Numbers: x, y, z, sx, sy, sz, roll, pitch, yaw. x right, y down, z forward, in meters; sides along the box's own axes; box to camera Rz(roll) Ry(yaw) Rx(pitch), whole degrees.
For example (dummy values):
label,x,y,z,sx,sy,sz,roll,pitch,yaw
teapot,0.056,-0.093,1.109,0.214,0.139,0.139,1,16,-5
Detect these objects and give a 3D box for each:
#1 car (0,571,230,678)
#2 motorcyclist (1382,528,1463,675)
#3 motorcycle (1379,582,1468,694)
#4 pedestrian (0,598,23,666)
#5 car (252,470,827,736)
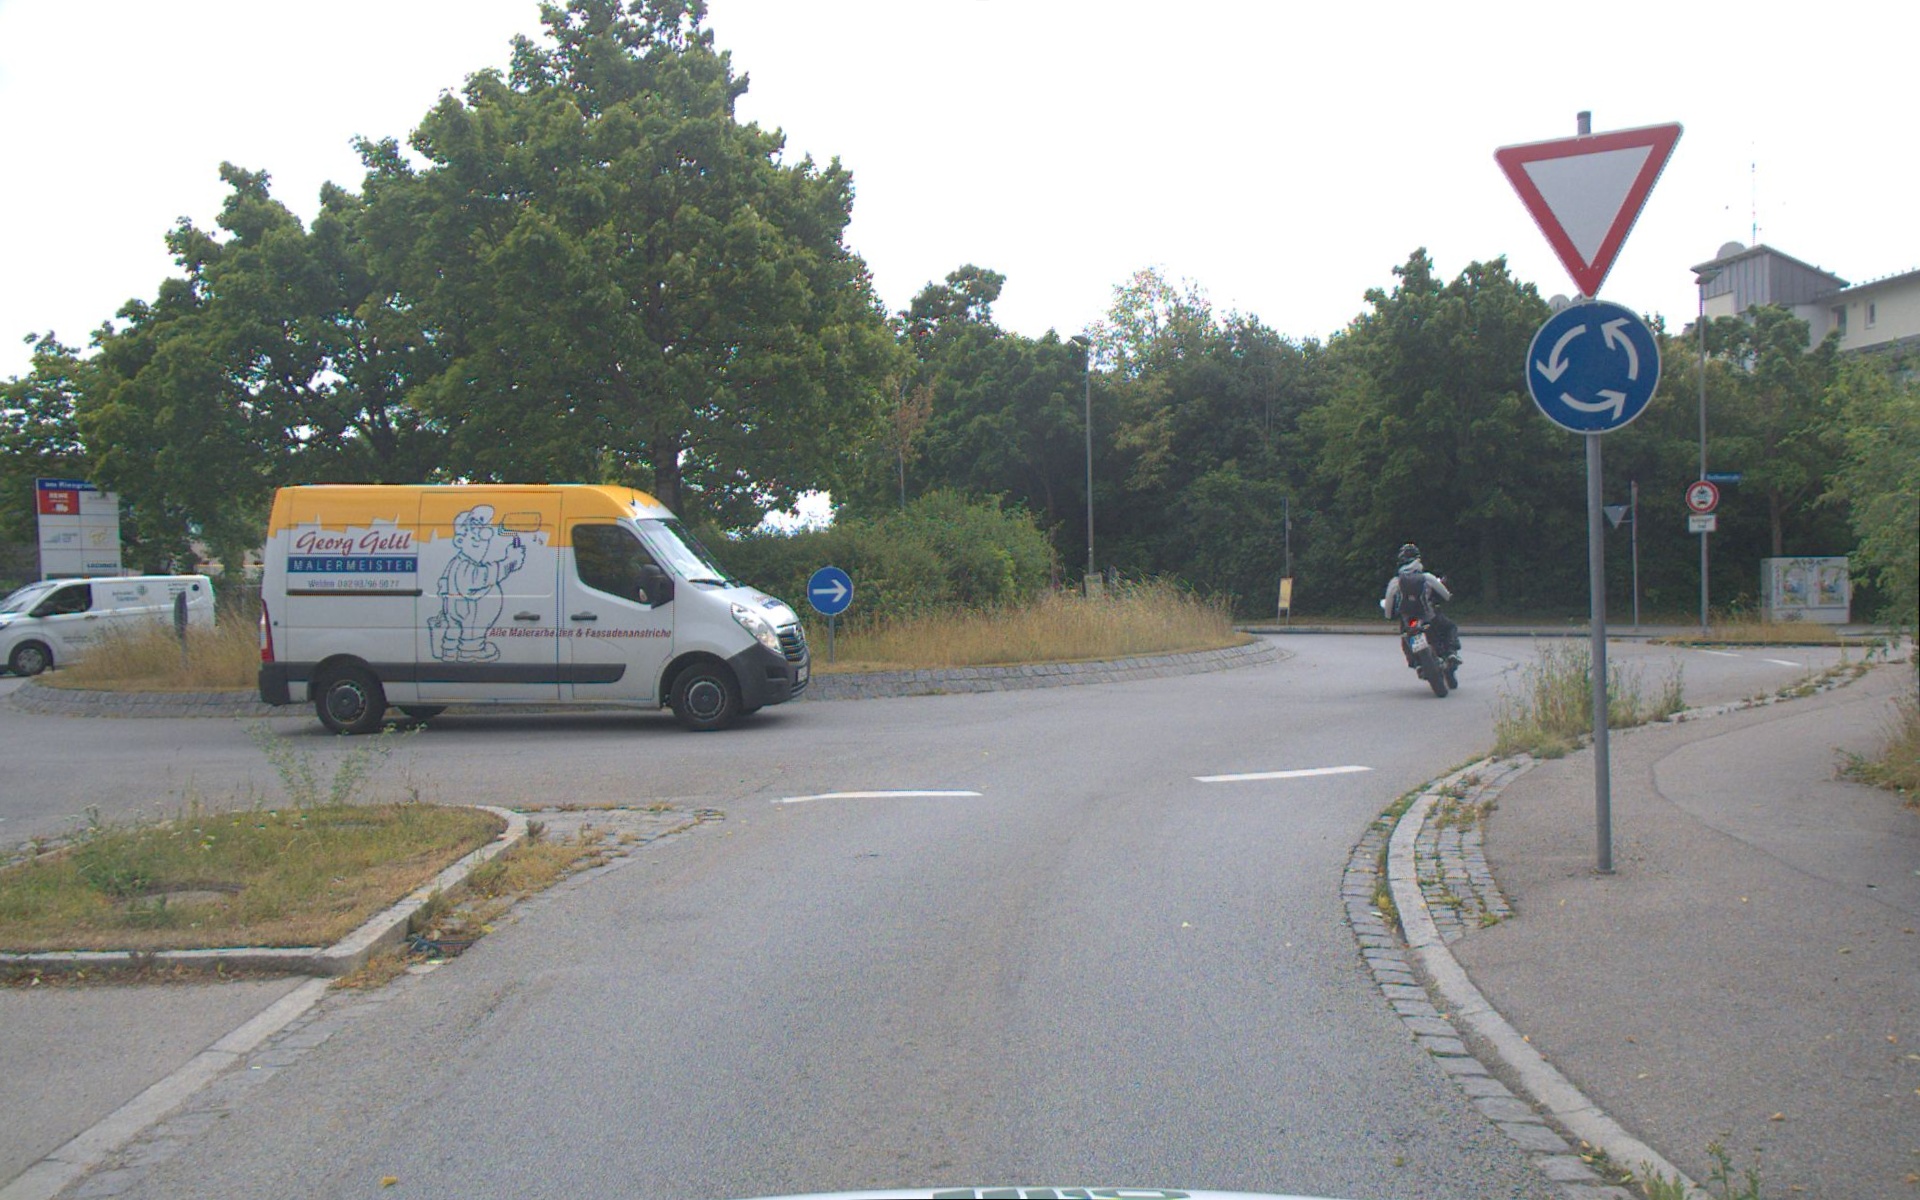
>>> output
label,x,y,z,sx,sy,sz,roll,pitch,yaw
car,-18.194,0.464,34.520,1.960,1.938,5.054,-1,2,36
motorcyclist,5.400,0.011,19.276,0.843,1.652,1.191,-1,1,18
motorcycle,5.445,0.407,19.319,0.878,1.178,2.622,-1,1,18
pedestrian,-21.572,0.714,36.904,0.617,1.494,0.949,-2,1,19
car,-4.241,0.019,17.246,5.309,2.494,2.171,-1,1,6
